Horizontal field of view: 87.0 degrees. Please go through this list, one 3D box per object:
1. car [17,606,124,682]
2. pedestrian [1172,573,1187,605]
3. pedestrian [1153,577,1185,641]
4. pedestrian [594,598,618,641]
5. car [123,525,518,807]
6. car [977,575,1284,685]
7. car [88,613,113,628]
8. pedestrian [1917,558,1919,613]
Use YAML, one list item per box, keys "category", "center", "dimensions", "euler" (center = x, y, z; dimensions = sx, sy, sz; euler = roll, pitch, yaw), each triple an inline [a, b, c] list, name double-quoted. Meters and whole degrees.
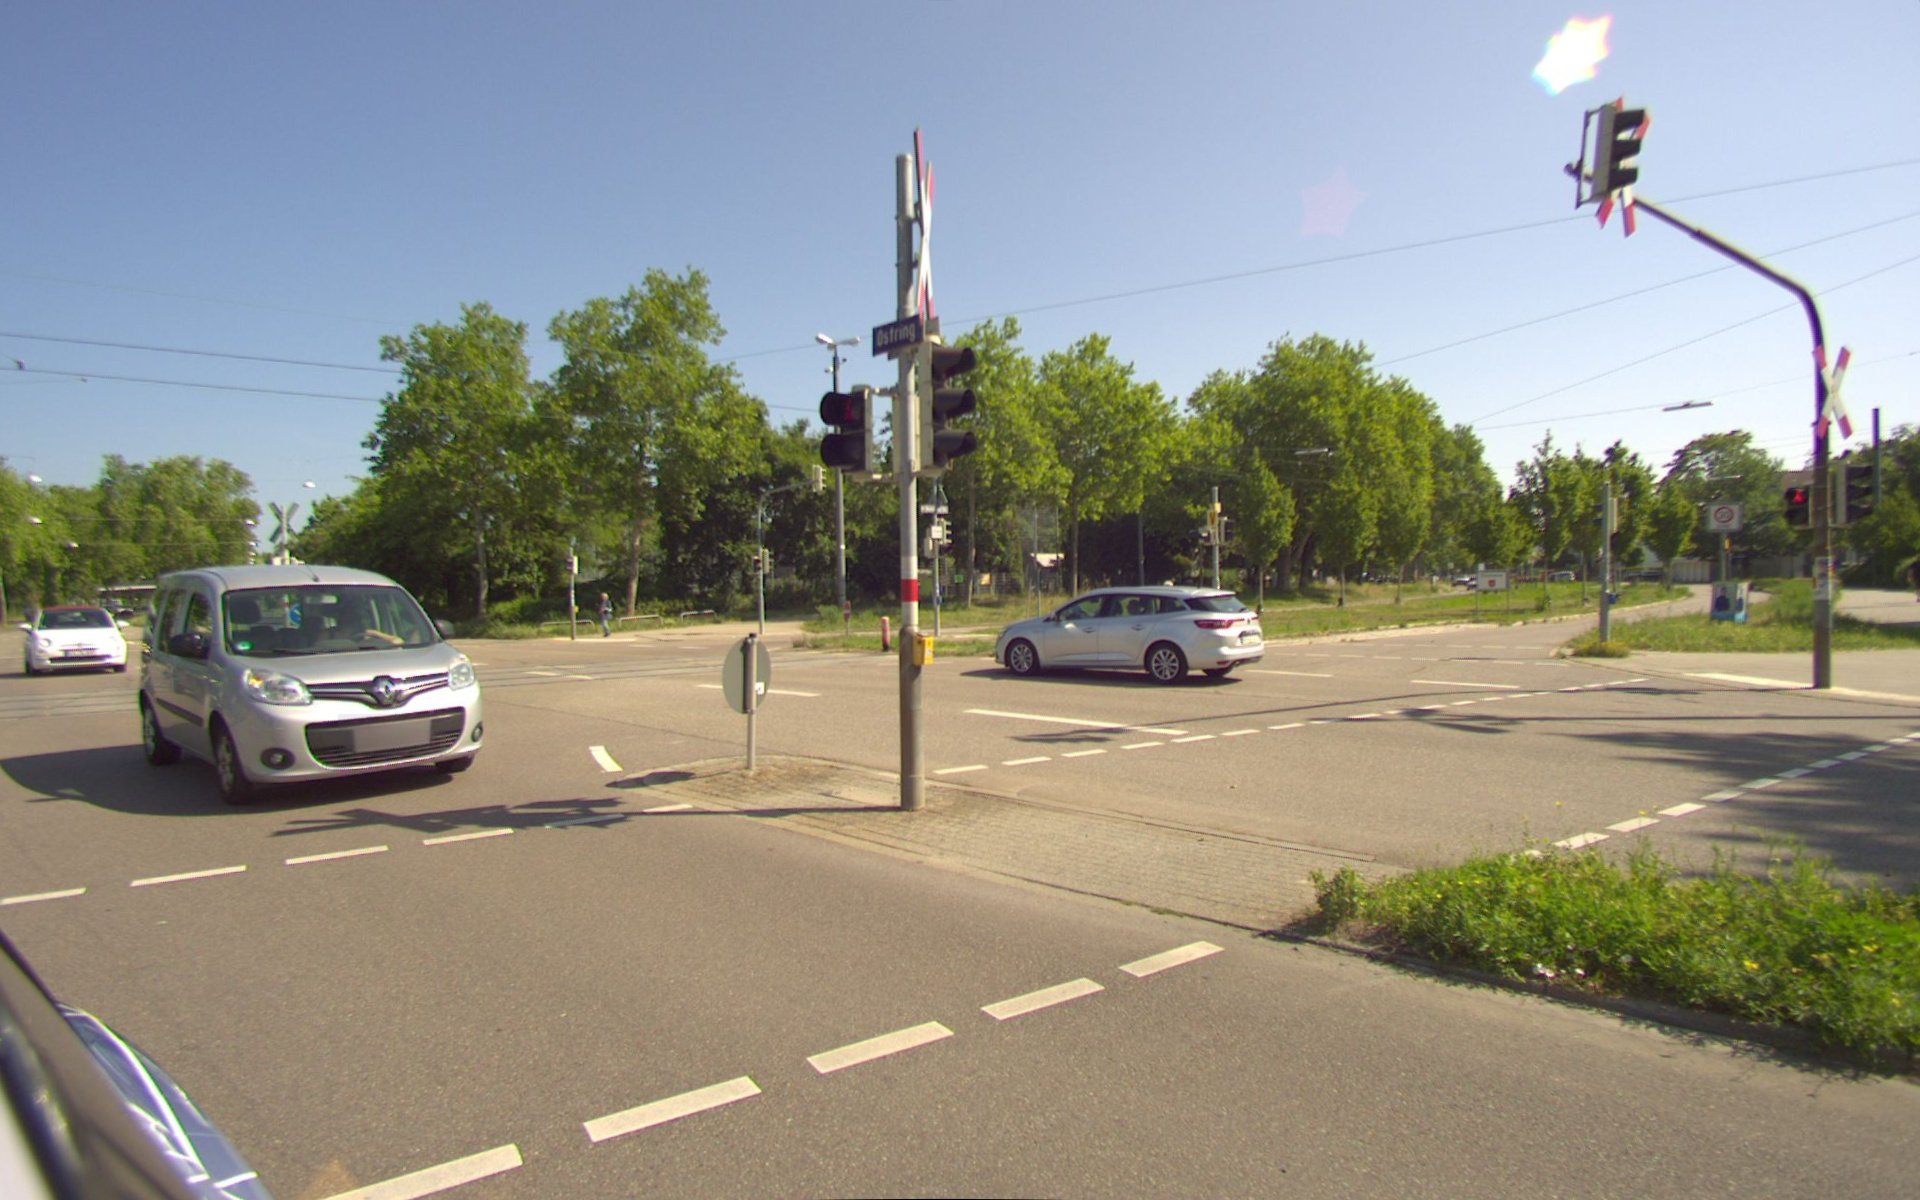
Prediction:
- category: "car"
  center: [-20.124, 0.909, 22.929]
  dimensions: [1.664, 1.502, 4.381]
  euler: [-2, 1, -41]
- category: "pedestrian"
  center: [14.640, -0.723, 67.369]
  dimensions: [0.754, 2.106, 0.611]
  euler: [-1, 1, 39]
- category: "pedestrian"
  center: [5.150, 0.221, 24.908]
  dimensions: [0.667, 1.572, 0.362]
  euler: [-1, 1, 34]
- category: "pedestrian"
  center: [-12.966, 0.694, 37.094]
  dimensions: [0.568, 1.546, 0.599]
  euler: [-1, 1, 40]
- category: "car"
  center: [-5.740, 0.472, 8.829]
  dimensions: [4.375, 1.854, 1.852]
  euler: [-2, -1, 43]
- category: "car"
  center: [2.605, 0.418, 16.233]
  dimensions: [4.658, 1.519, 1.677]
  euler: [-1, 1, 41]
- category: "car"
  center: [-122.489, 2.963, 144.278]
  dimensions: [1.966, 2.029, 4.012]
  euler: [-2, 1, -31]
- category: "pedestrian"
  center: [35.510, -0.538, 36.984]
  dimensions: [0.784, 2.029, 0.712]
  euler: [-2, 0, -44]
